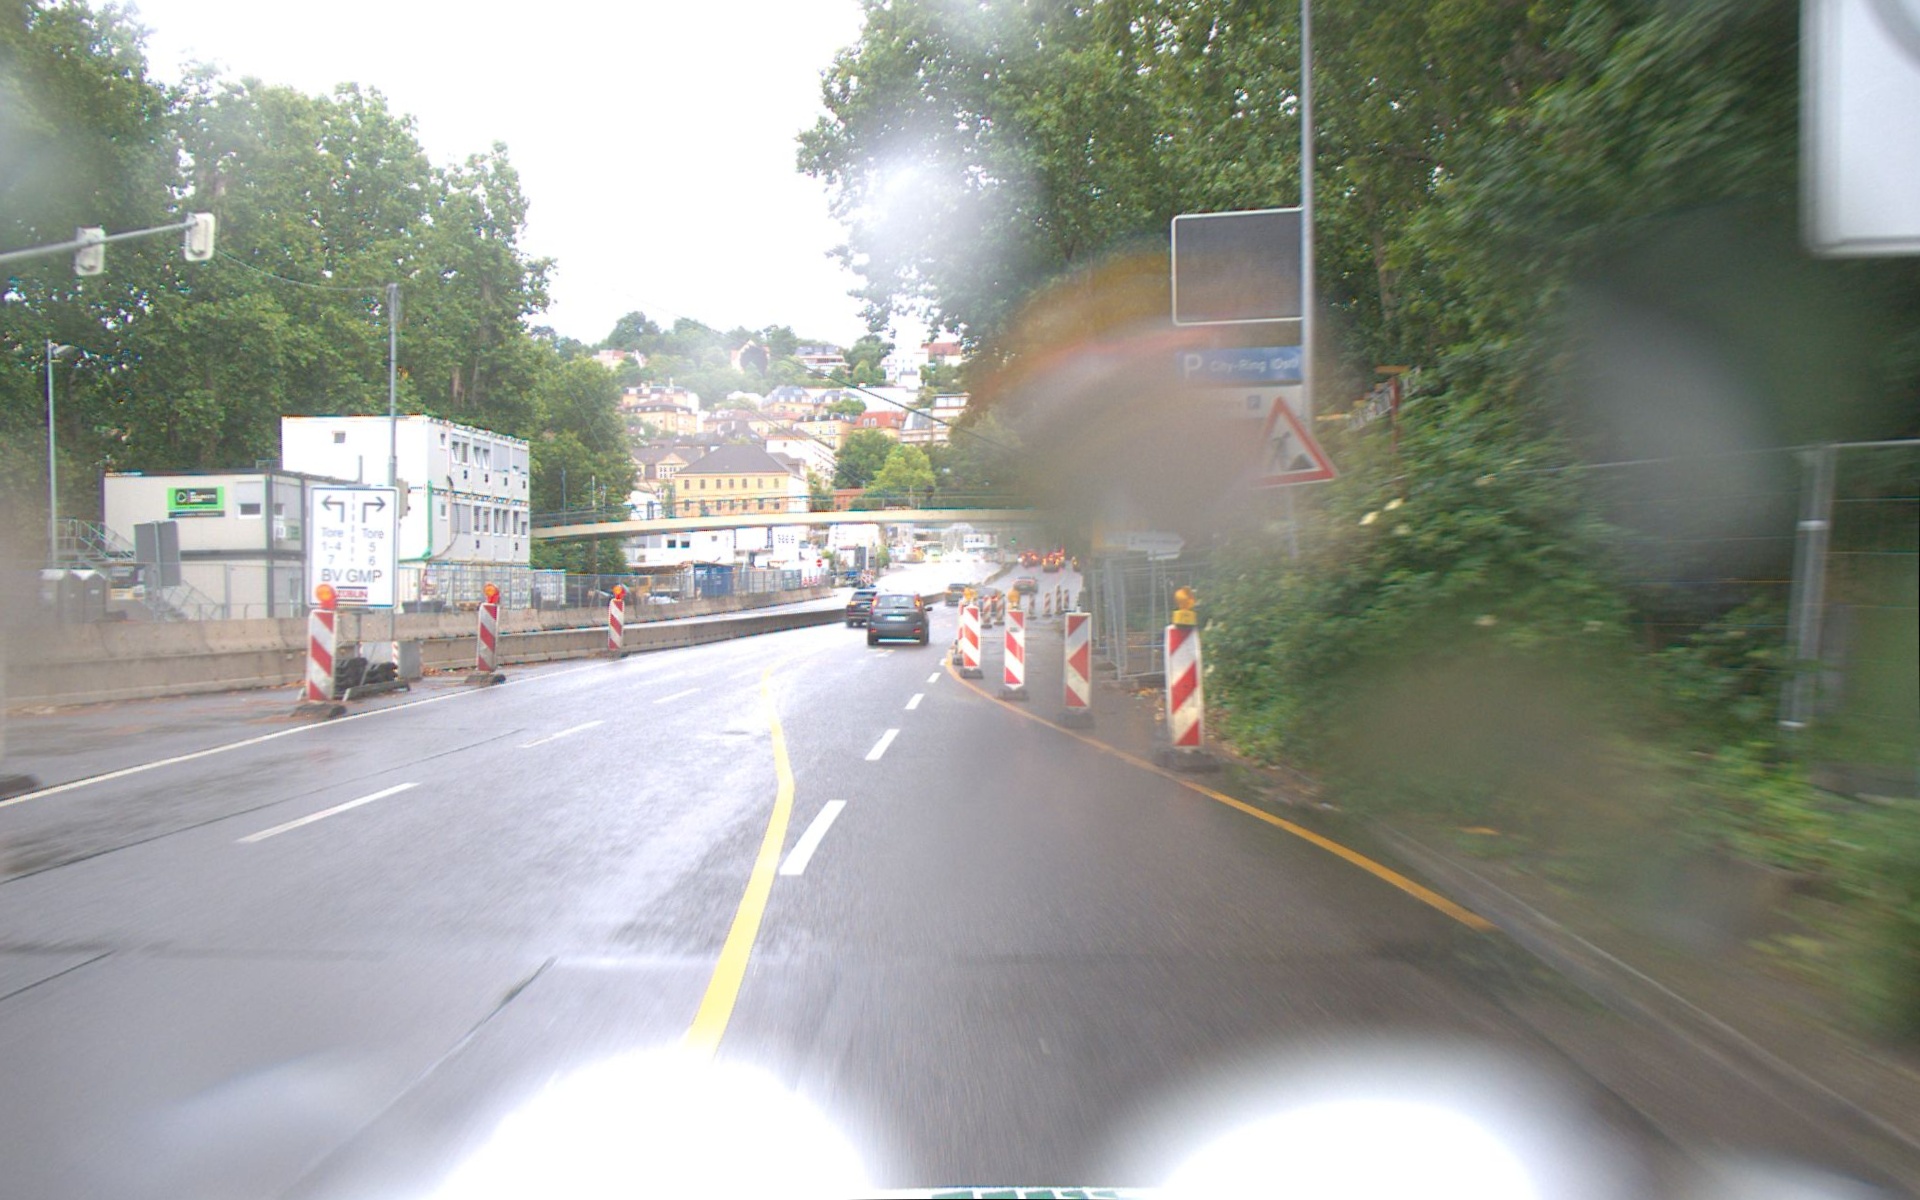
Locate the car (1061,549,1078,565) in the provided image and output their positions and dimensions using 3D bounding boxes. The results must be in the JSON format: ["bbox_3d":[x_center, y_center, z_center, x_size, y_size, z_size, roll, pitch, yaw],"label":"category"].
[{"bbox_3d":[13.069,-5.128,197.365,1.952,1.728,4.001,-1,0,2],"label":"car"}]

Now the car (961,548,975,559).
[{"bbox_3d":[1.207,-7.004,247.957,1.673,1.515,3.453,-1,0,6],"label":"car"}]

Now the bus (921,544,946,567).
[{"bbox_3d":[-3.778,-6.393,238.013,2.747,3.240,8.813,-1,1,4],"label":"bus"}]

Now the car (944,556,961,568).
[{"bbox_3d":[-1.014,-5.381,232.026,2.038,1.659,4.856,-1,2,3],"label":"car"}]

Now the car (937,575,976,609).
[{"bbox_3d":[-0.201,-0.517,105.197,1.951,2.049,4.003,-1,0,7],"label":"car"}]

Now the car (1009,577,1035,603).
[{"bbox_3d":[5.065,-0.822,134.483,2.008,2.049,4.002,-1,0,3],"label":"car"}]

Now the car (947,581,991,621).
[{"bbox_3d":[0.501,0.044,88.582,2.060,2.086,4.002,-1,0,4],"label":"car"}]

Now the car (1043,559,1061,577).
[{"bbox_3d":[10.392,-3.621,187.448,1.952,1.902,4.002,-1,0,3],"label":"car"}]

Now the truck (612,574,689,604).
[{"bbox_3d":[-22.602,-0.842,121.021,5.139,2.049,2.164,-1,1,0],"label":"truck"}]

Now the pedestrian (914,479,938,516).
[{"bbox_3d":[-2.038,-6.158,99.385,1.123,2.096,1.060,-1,0,12],"label":"pedestrian"}]

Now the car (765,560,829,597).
[{"bbox_3d":[-13.311,-1.747,135.594,1.957,2.925,6.039,-1,0,31],"label":"car"}]

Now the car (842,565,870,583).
[{"bbox_3d":[-10.475,-2.627,166.972,1.951,1.649,4.005,-1,3,8],"label":"car"}]

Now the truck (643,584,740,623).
[{"bbox_3d":[-18.281,0.251,112.792,6.151,2.495,2.693,-1,0,-3],"label":"truck"}]

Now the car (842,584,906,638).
[{"bbox_3d":[-3.384,0.414,65.884,1.974,2.049,4.002,-1,0,4],"label":"car"}]

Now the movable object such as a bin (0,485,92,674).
[{"bbox_3d":[-27.147,-0.484,42.738,4.650,4.887,8.362,-1,0,3],"label":"movable object such as a bin"}]

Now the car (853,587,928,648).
[{"bbox_3d":[-1.958,0.467,45.679,1.777,1.553,3.994,-2,0,-6],"label":"car"}]
